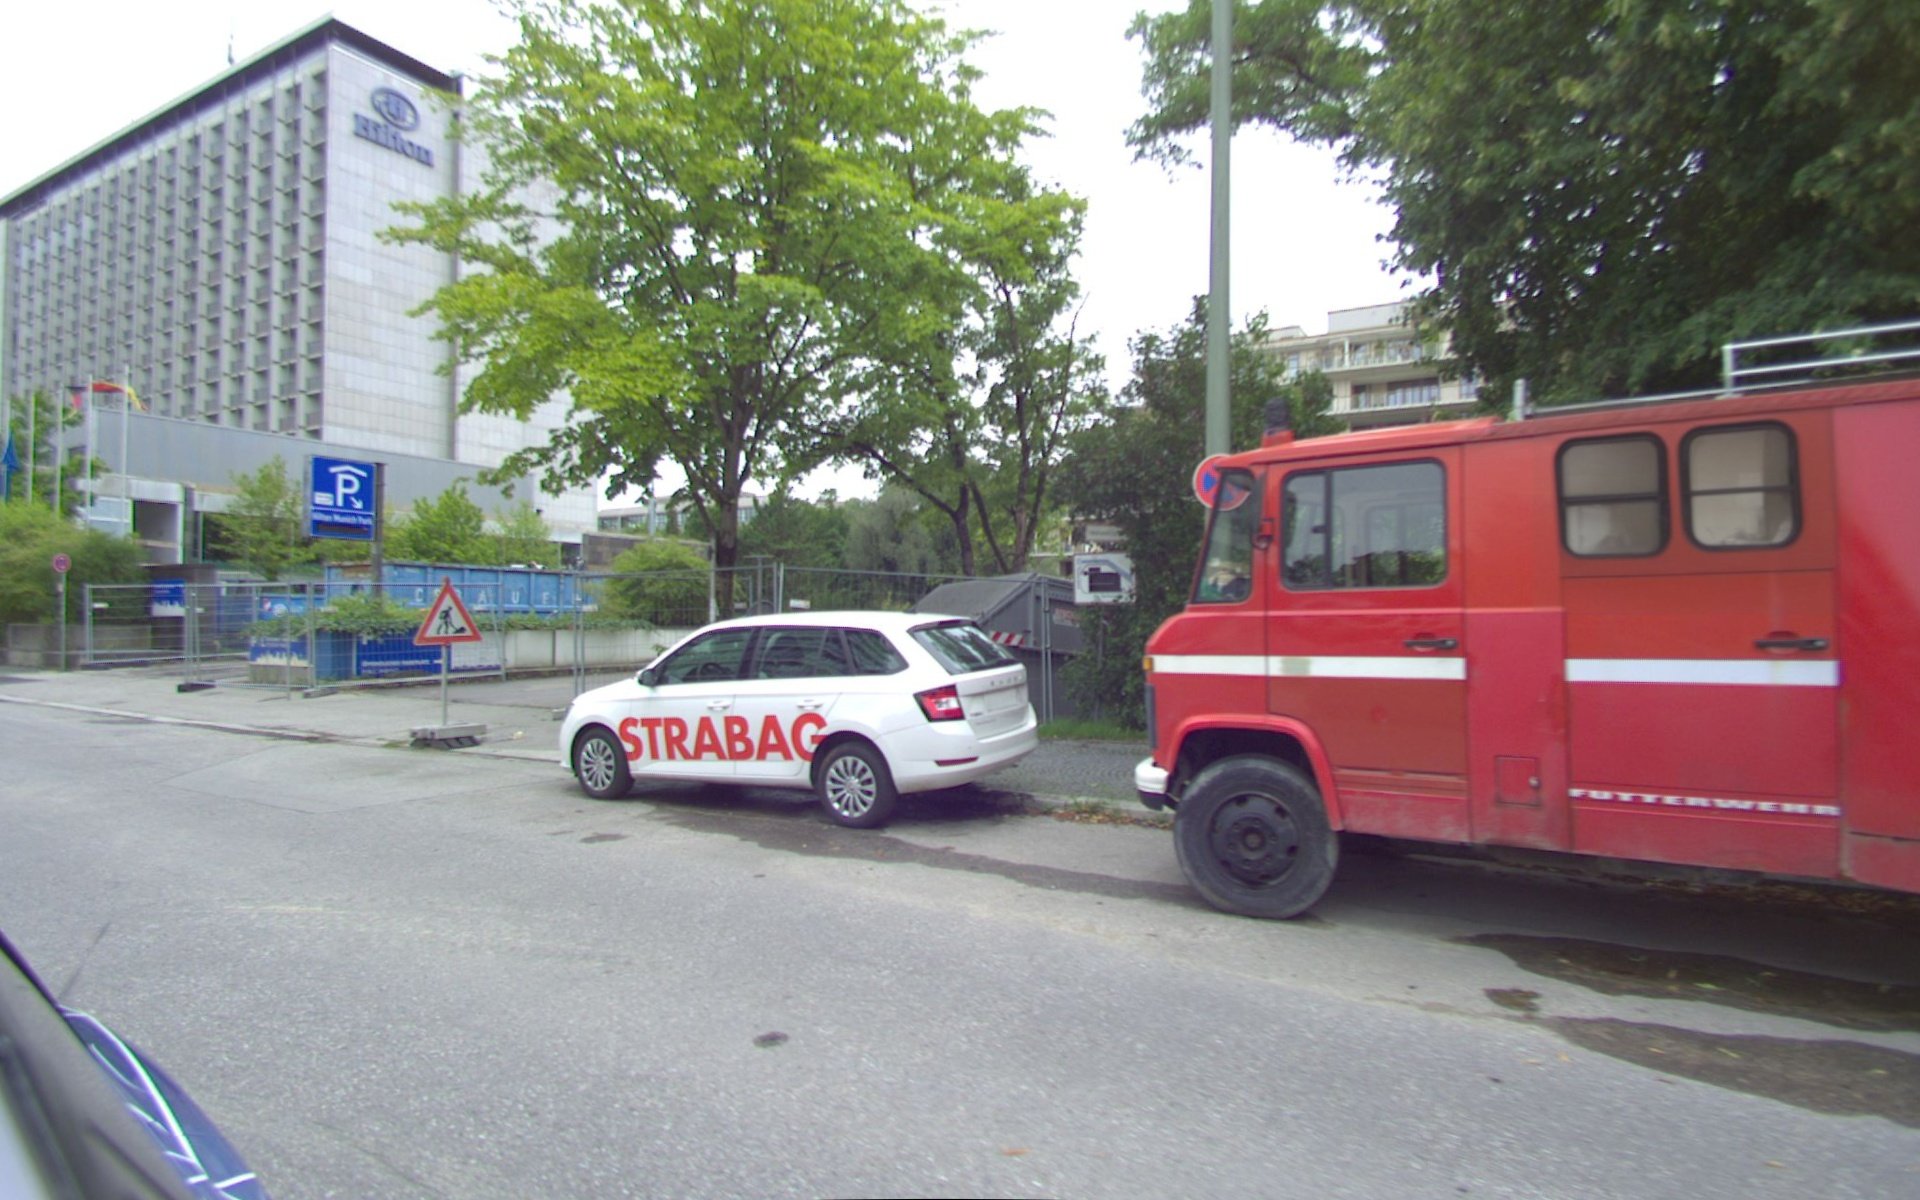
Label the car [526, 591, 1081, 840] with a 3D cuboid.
[{"bbox_3d":[-1.319,0.746,8.153,4.238,1.561,1.765,0,-1,28],"label":"car"}]

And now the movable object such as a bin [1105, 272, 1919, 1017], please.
[{"bbox_3d":[3.840,0.158,4.188,6.172,2.477,2.086,0,-1,35],"label":"movable object such as a bin"}]
